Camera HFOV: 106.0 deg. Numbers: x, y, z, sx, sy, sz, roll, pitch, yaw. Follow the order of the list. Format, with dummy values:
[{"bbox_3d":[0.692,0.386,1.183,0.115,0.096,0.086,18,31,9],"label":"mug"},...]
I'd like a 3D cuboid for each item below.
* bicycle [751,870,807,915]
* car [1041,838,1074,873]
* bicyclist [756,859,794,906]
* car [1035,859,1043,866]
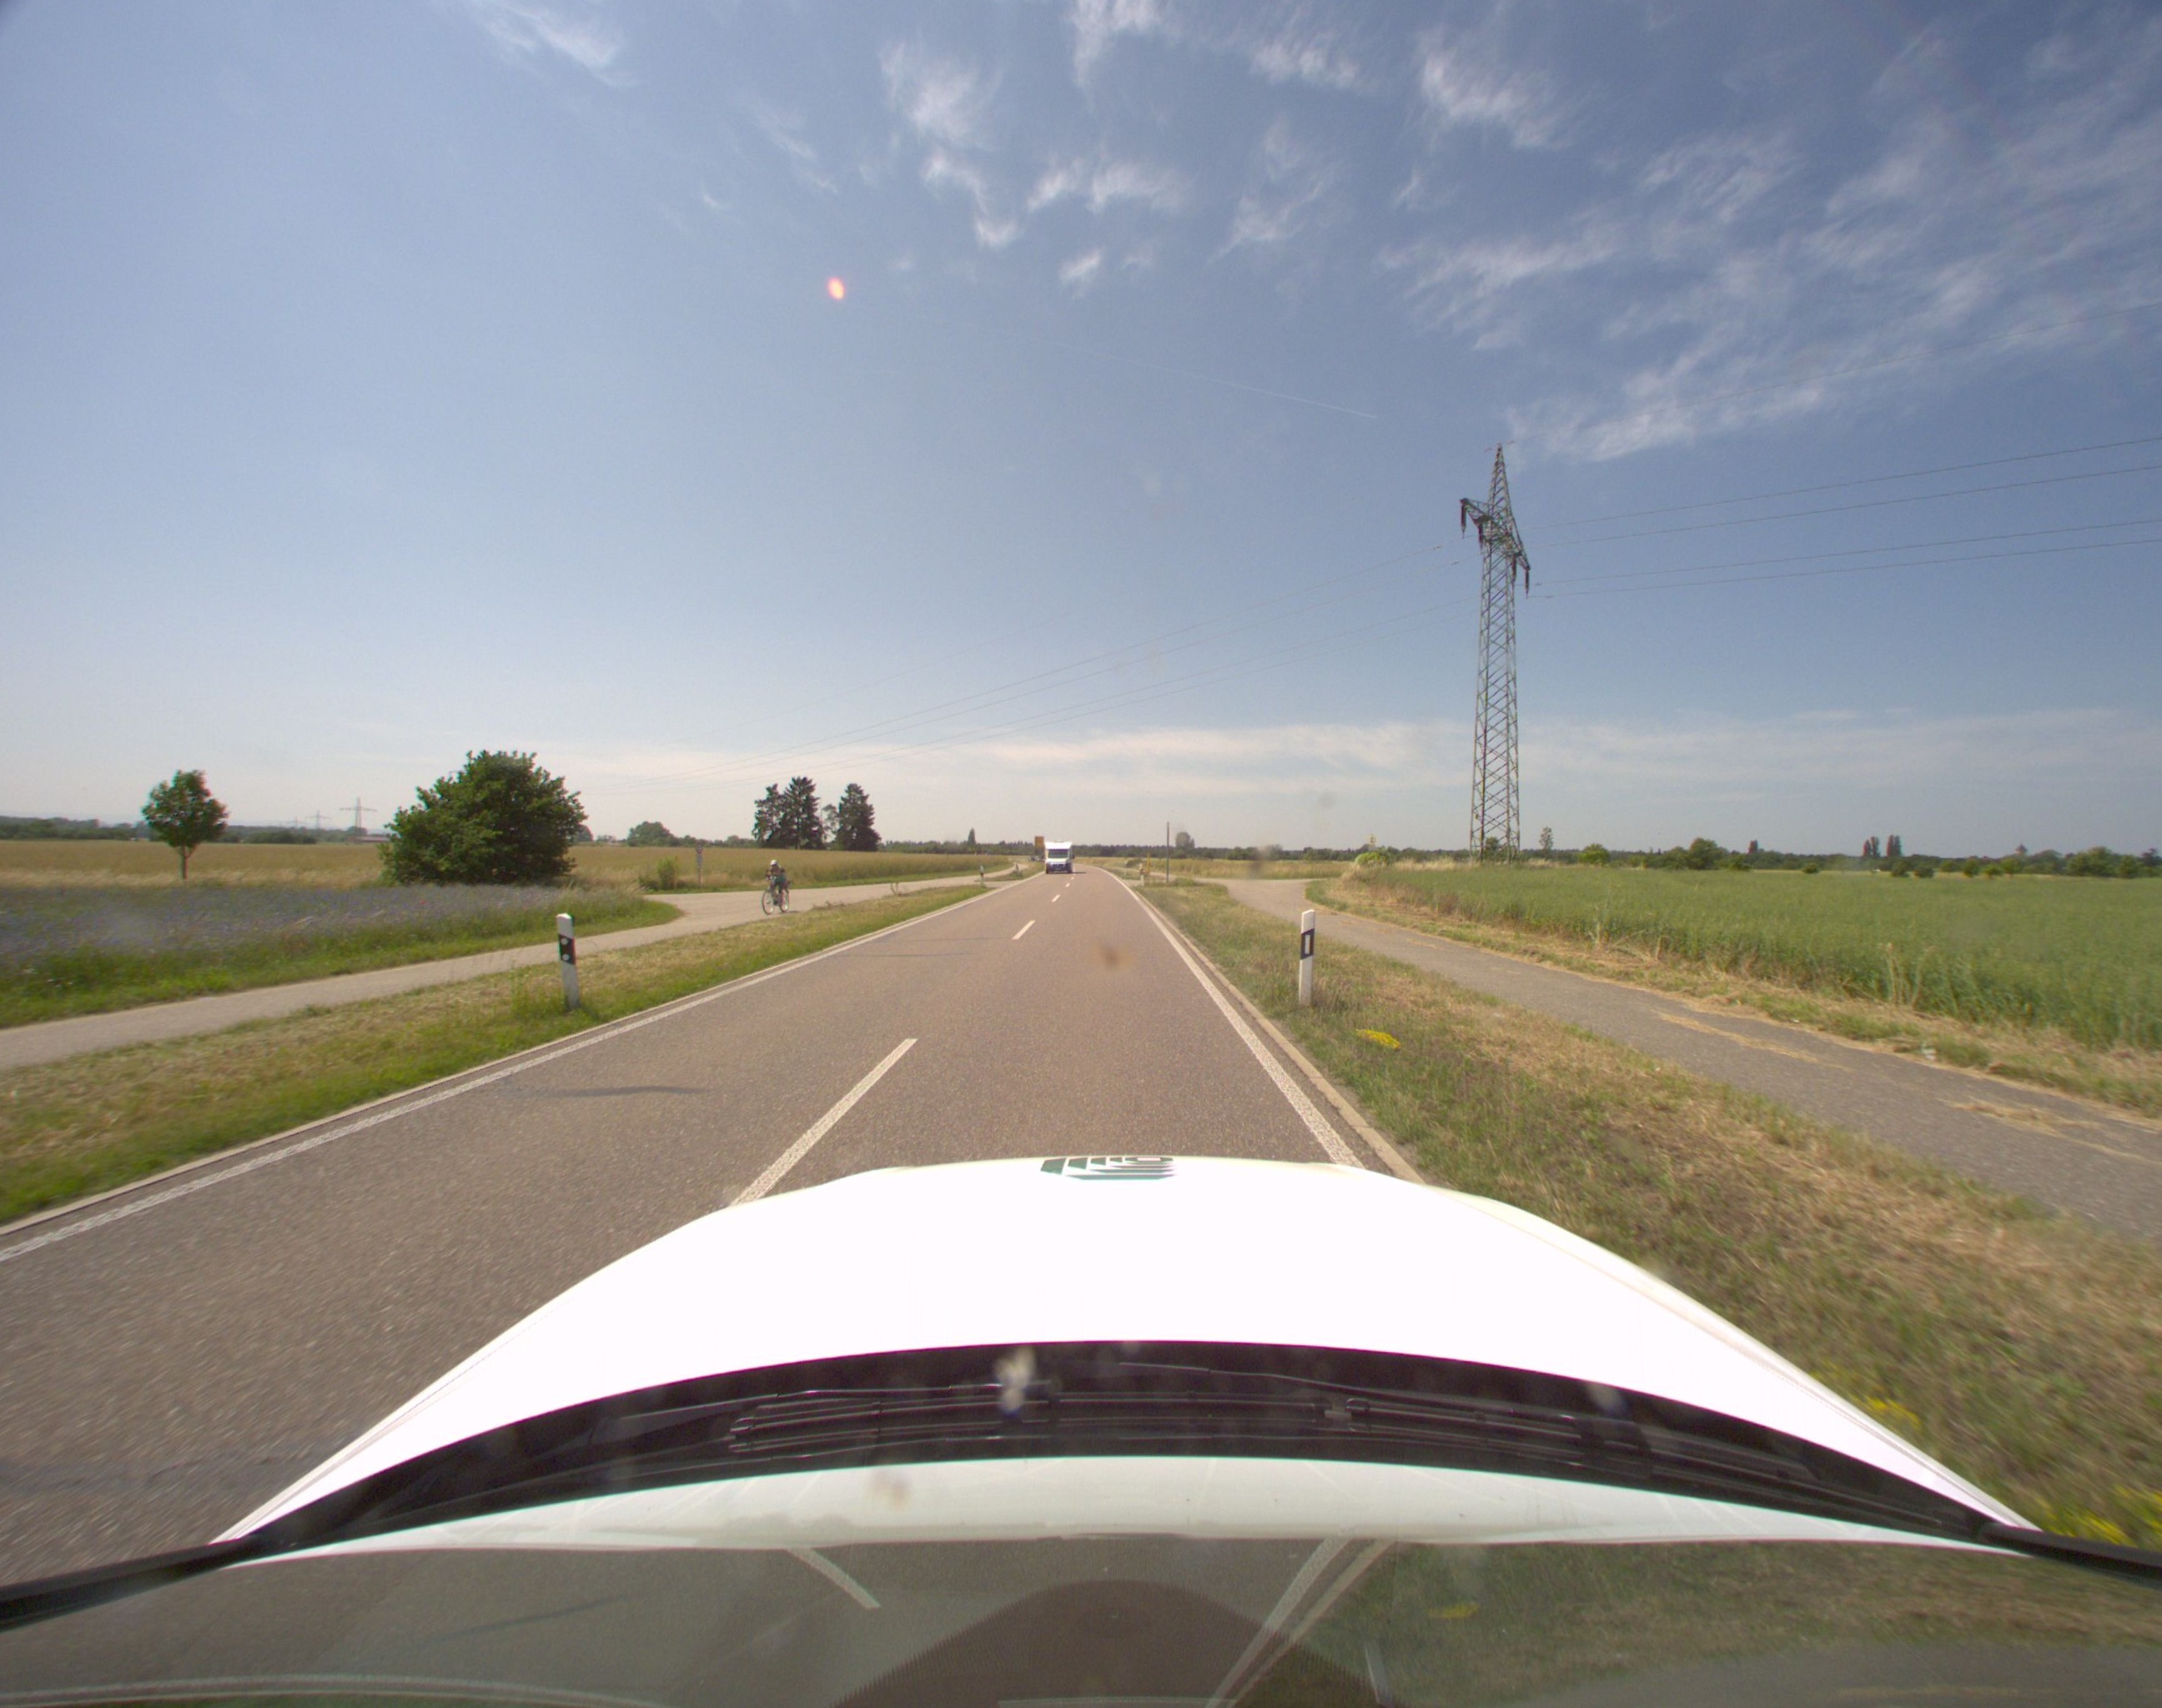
[{"bbox_3d":[-8.839,1.093,23.949,0.759,1.229,2.216,0,0,2],"label":"bicycle"},{"bbox_3d":[-1.907,0.122,69.245,2.388,2.847,7.630,0,0,2],"label":"car"},{"bbox_3d":[-8.867,0.823,23.618,0.699,1.331,0.965,0,0,2],"label":"bicyclist"},{"bbox_3d":[-10.050,2.016,195.664,1.706,1.586,3.501,-1,-1,0],"label":"car"}]
